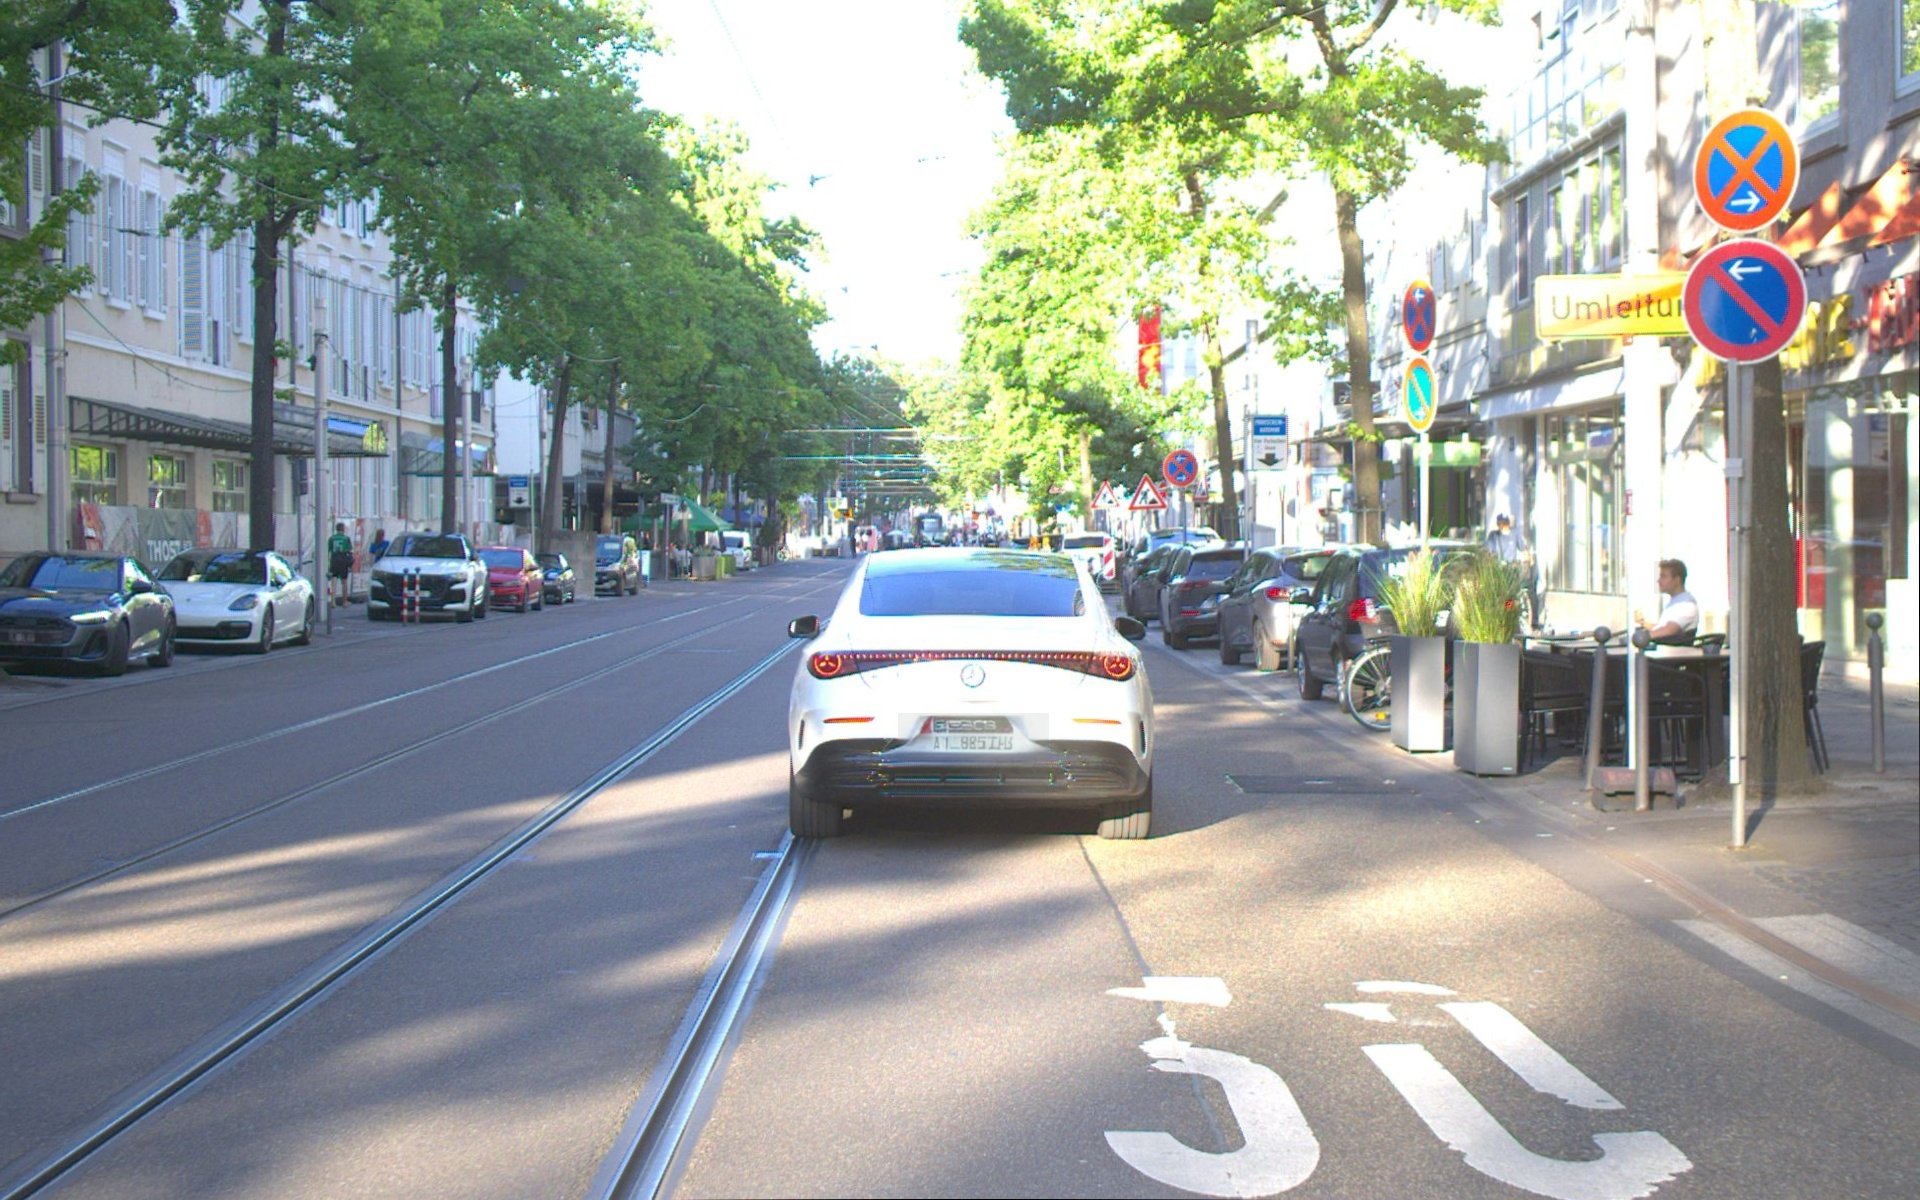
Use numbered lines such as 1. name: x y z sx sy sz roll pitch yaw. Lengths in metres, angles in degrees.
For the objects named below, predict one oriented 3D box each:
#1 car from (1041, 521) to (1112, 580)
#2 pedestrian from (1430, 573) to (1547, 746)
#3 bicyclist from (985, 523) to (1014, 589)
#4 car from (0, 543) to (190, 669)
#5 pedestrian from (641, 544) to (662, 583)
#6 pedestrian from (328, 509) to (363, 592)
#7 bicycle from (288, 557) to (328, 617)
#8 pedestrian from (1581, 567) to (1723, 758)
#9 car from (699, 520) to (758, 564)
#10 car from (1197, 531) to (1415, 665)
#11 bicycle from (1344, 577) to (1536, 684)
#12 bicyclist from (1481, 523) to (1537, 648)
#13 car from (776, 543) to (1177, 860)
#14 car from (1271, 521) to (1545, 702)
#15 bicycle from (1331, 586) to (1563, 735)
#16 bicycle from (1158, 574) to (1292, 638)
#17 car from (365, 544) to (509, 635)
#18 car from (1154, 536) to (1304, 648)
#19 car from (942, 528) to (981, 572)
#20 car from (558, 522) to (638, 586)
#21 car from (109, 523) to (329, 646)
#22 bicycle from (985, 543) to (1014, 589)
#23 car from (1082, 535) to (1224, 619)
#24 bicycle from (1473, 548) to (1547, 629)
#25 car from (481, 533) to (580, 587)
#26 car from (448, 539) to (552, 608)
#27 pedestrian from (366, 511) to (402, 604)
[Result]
1. car: 3.457 -1.499 102.918 1.993 1.722 4.241 0 1 0
2. pedestrian: 3.914 0.433 25.489 0.817 1.261 0.586 0 1 5
3. bicyclist: 1.018 -1.140 88.941 0.724 1.697 0.811 0 0 1
4. car: -10.640 0.033 41.184 1.961 1.408 4.847 1 1 -3
5. pedestrian: -11.558 -1.361 128.861 0.569 1.459 0.649 1 1 19
6. pedestrian: -13.357 -1.073 74.741 0.707 1.800 0.676 0 1 -5
7. bicycle: -11.661 -0.233 61.521 0.593 1.047 2.009 0 1 -7
8. pedestrian: 5.129 0.449 25.484 0.707 1.382 0.747 0 1 -38
9. car: -10.889 -2.721 161.805 1.994 2.007 3.999 0 1 8
10. car: 4.027 -0.044 40.618 1.814 1.481 4.001 1 1 -5
11. bicycle: 5.017 0.312 35.959 1.855 1.070 0.712 -1 1 -9
12. bicyclist: 7.470 -0.203 46.782 0.638 1.678 0.600 0 1 -2
13. car: 0.071 0.460 18.333 1.868 1.464 4.042 -1 1 0
14. car: 4.022 0.081 31.420 1.800 1.453 3.655 -3 1 -3
15. bicycle: 3.869 0.483 27.321 1.728 1.135 0.546 -1 0 21
16. bicycle: 4.038 0.092 52.401 2.038 0.961 0.282 0 1 5
17. car: -10.207 -0.227 67.473 1.962 1.686 5.013 1 1 1
18. car: 3.741 -0.140 48.381 1.871 1.448 4.106 -2 1 2
19. car: 0.085 -2.979 205.742 1.993 2.533 4.001 1 0 -5
20. car: -10.410 -1.334 99.135 1.553 1.789 3.166 0 1 8
21. car: -10.514 -0.242 49.135 1.946 1.634 4.909 1 1 1
22. bicycle: 1.020 -0.881 88.955 0.740 1.184 2.160 0 0 1
23. car: 3.354 -0.420 60.426 1.837 1.431 4.001 0 1 -6
24. bicycle: 7.469 -0.171 46.716 0.647 1.070 1.861 0 1 -2
25. car: -10.736 -1.008 86.094 1.993 1.287 4.000 1 1 0
26. car: -10.344 -0.599 77.484 1.689 1.494 4.234 1 1 1
27. pedestrian: -12.505 -0.923 74.668 0.707 1.997 0.675 0 1 -3
